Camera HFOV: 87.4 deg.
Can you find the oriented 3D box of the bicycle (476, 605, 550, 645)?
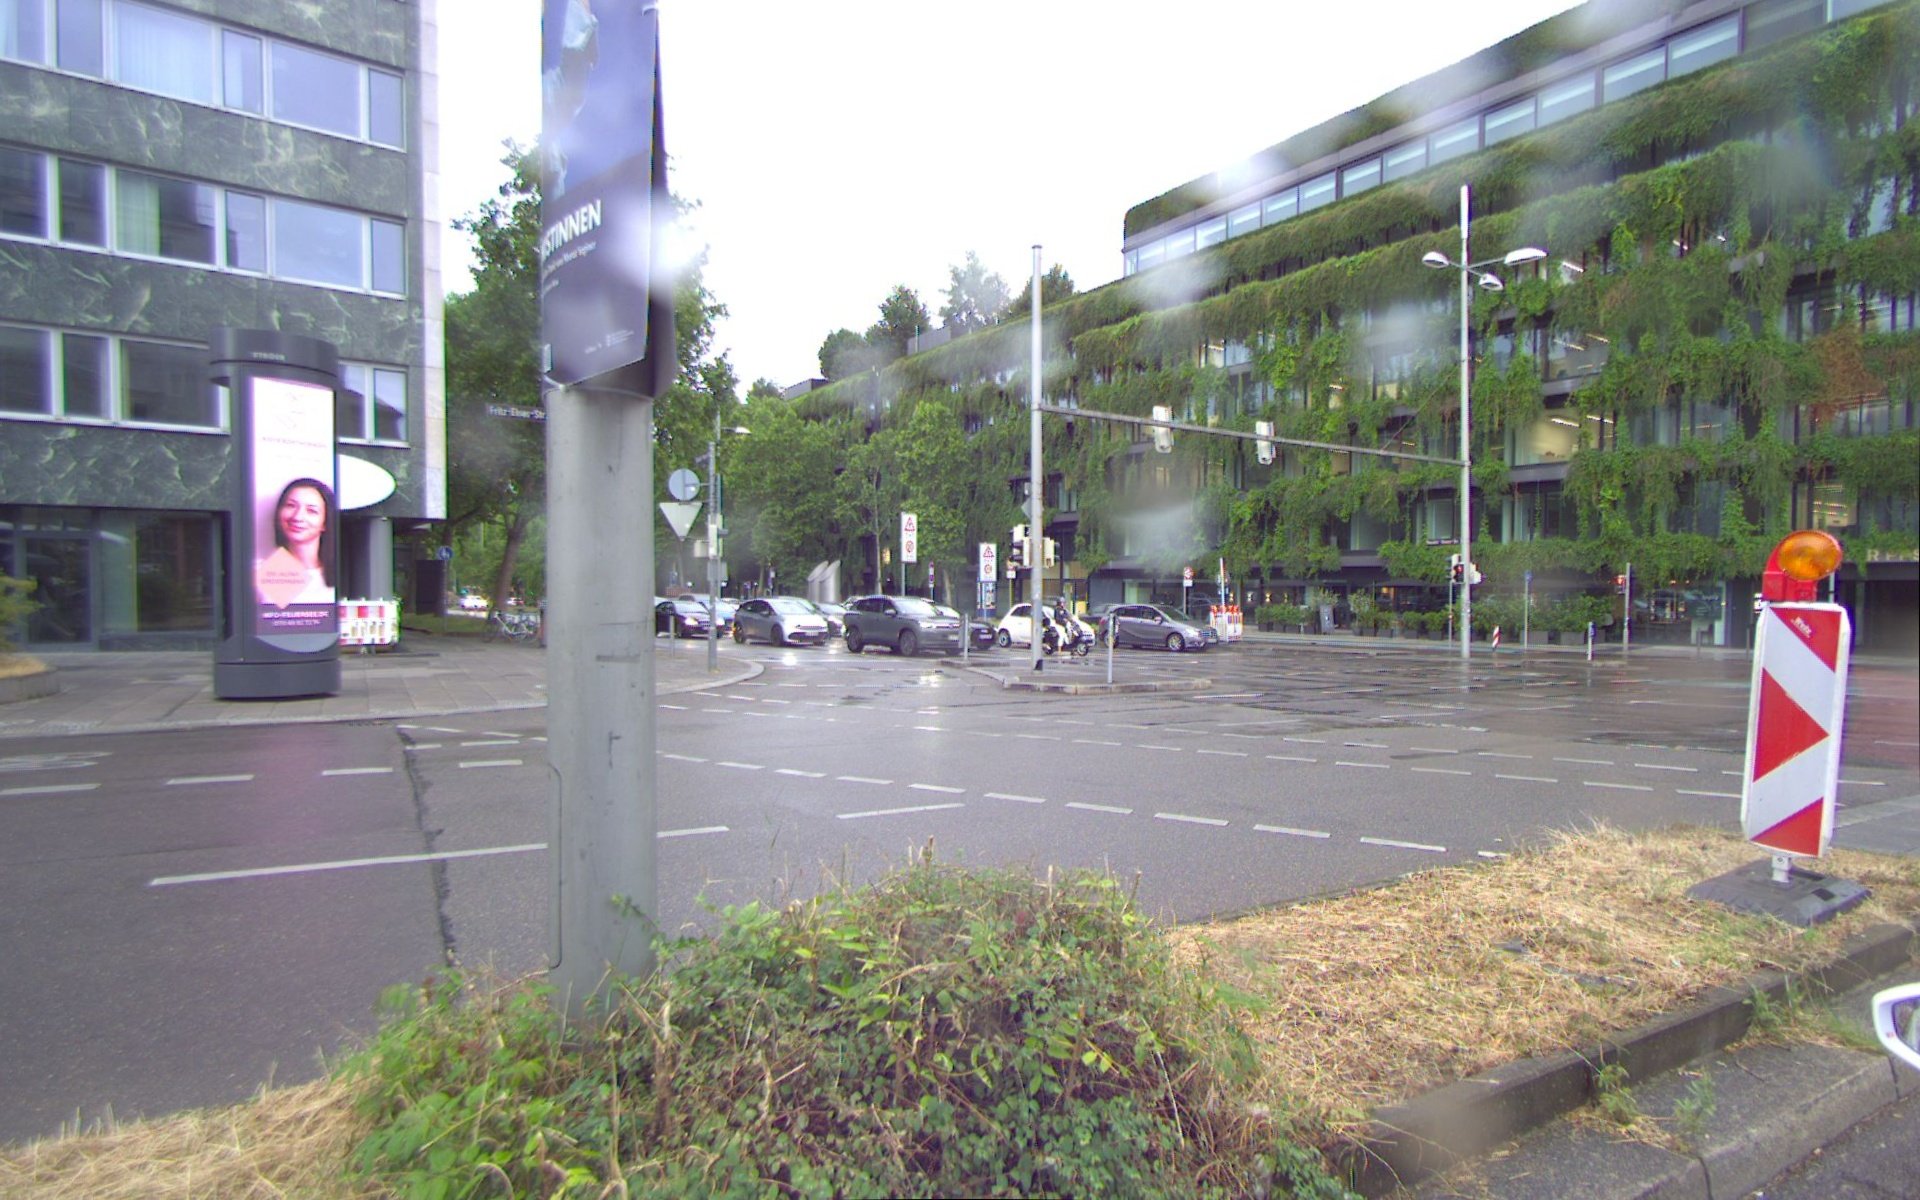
[{"bbox_3d":[-12.291,0.674,27.636,1.765,1.066,0.581,1,0,-35],"label":"bicycle"}]

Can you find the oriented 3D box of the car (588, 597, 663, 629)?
[{"bbox_3d":[-15.029,0.559,45.037,1.982,1.389,4.131,1,0,-37],"label":"car"}]

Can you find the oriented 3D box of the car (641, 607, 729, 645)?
[{"bbox_3d":[-10.894,0.998,39.627,1.982,1.389,4.131,1,0,-37],"label":"car"}]

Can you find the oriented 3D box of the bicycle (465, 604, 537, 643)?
[{"bbox_3d":[-12.969,0.658,28.414,1.765,1.066,0.581,1,0,-35],"label":"bicycle"}]

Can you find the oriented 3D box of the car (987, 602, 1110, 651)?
[{"bbox_3d":[2.880,0.852,33.468,1.981,1.495,3.958,1,0,-37],"label":"car"}]

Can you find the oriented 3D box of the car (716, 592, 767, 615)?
[{"bbox_3d":[-17.668,0.258,81.157,1.919,1.828,4.849,1,0,-41],"label":"car"}]

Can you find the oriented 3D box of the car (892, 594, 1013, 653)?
[{"bbox_3d":[-0.298,0.705,32.431,1.981,1.773,3.958,1,0,-37],"label":"car"}]

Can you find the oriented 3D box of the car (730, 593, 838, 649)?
[{"bbox_3d":[-6.011,0.666,34.037,1.982,1.773,3.956,1,0,-38],"label":"car"}]

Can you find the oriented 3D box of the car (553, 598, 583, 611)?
[{"bbox_3d":[-47.544,0.572,121.745,1.919,1.508,4.849,1,0,-41],"label":"car"}]

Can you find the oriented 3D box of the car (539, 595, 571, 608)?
[{"bbox_3d":[-47.487,0.179,117.735,1.919,1.508,4.849,1,0,-41],"label":"car"}]

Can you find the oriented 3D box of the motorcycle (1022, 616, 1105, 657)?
[{"bbox_3d":[2.988,1.043,29.119,2.331,1.068,0.830,2,0,41],"label":"motorcycle"}]

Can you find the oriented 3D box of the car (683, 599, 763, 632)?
[{"bbox_3d":[-10.669,0.692,45.024,1.982,1.389,4.131,1,0,-37],"label":"car"}]

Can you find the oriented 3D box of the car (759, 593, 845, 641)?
[{"bbox_3d":[-6.285,0.645,39.672,1.841,1.791,4.139,1,0,-32],"label":"car"}]

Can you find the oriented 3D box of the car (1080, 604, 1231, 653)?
[{"bbox_3d":[6.625,0.930,34.412,4.842,1.508,1.922,1,0,45],"label":"car"}]

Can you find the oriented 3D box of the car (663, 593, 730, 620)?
[{"bbox_3d":[-13.923,0.331,52.926,1.982,1.389,4.131,1,0,-37],"label":"car"}]

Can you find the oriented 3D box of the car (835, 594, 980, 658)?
[{"bbox_3d":[-1.590,0.697,29.151,1.984,1.709,4.314,1,0,-41],"label":"car"}]

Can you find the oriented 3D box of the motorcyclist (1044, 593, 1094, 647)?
[{"bbox_3d":[3.141,0.577,28.995,1.153,1.492,0.832,2,0,40],"label":"motorcyclist"}]

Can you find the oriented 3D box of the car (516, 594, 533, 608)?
[{"bbox_3d":[-62.751,0.122,144.785,1.975,2.040,3.972,1,0,-27],"label":"car"}]

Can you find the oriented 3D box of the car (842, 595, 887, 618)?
[{"bbox_3d":[-7.360,0.483,77.248,1.783,1.588,3.962,2,0,-34],"label":"car"}]

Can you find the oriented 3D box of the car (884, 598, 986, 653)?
[{"bbox_3d":[-1.004,0.908,37.766,1.978,1.923,4.139,1,0,-33],"label":"car"}]

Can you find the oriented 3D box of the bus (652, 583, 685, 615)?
[{"bbox_3d":[-32.014,-0.164,110.235,1.783,3.385,5.922,2,0,-34],"label":"bus"}]
